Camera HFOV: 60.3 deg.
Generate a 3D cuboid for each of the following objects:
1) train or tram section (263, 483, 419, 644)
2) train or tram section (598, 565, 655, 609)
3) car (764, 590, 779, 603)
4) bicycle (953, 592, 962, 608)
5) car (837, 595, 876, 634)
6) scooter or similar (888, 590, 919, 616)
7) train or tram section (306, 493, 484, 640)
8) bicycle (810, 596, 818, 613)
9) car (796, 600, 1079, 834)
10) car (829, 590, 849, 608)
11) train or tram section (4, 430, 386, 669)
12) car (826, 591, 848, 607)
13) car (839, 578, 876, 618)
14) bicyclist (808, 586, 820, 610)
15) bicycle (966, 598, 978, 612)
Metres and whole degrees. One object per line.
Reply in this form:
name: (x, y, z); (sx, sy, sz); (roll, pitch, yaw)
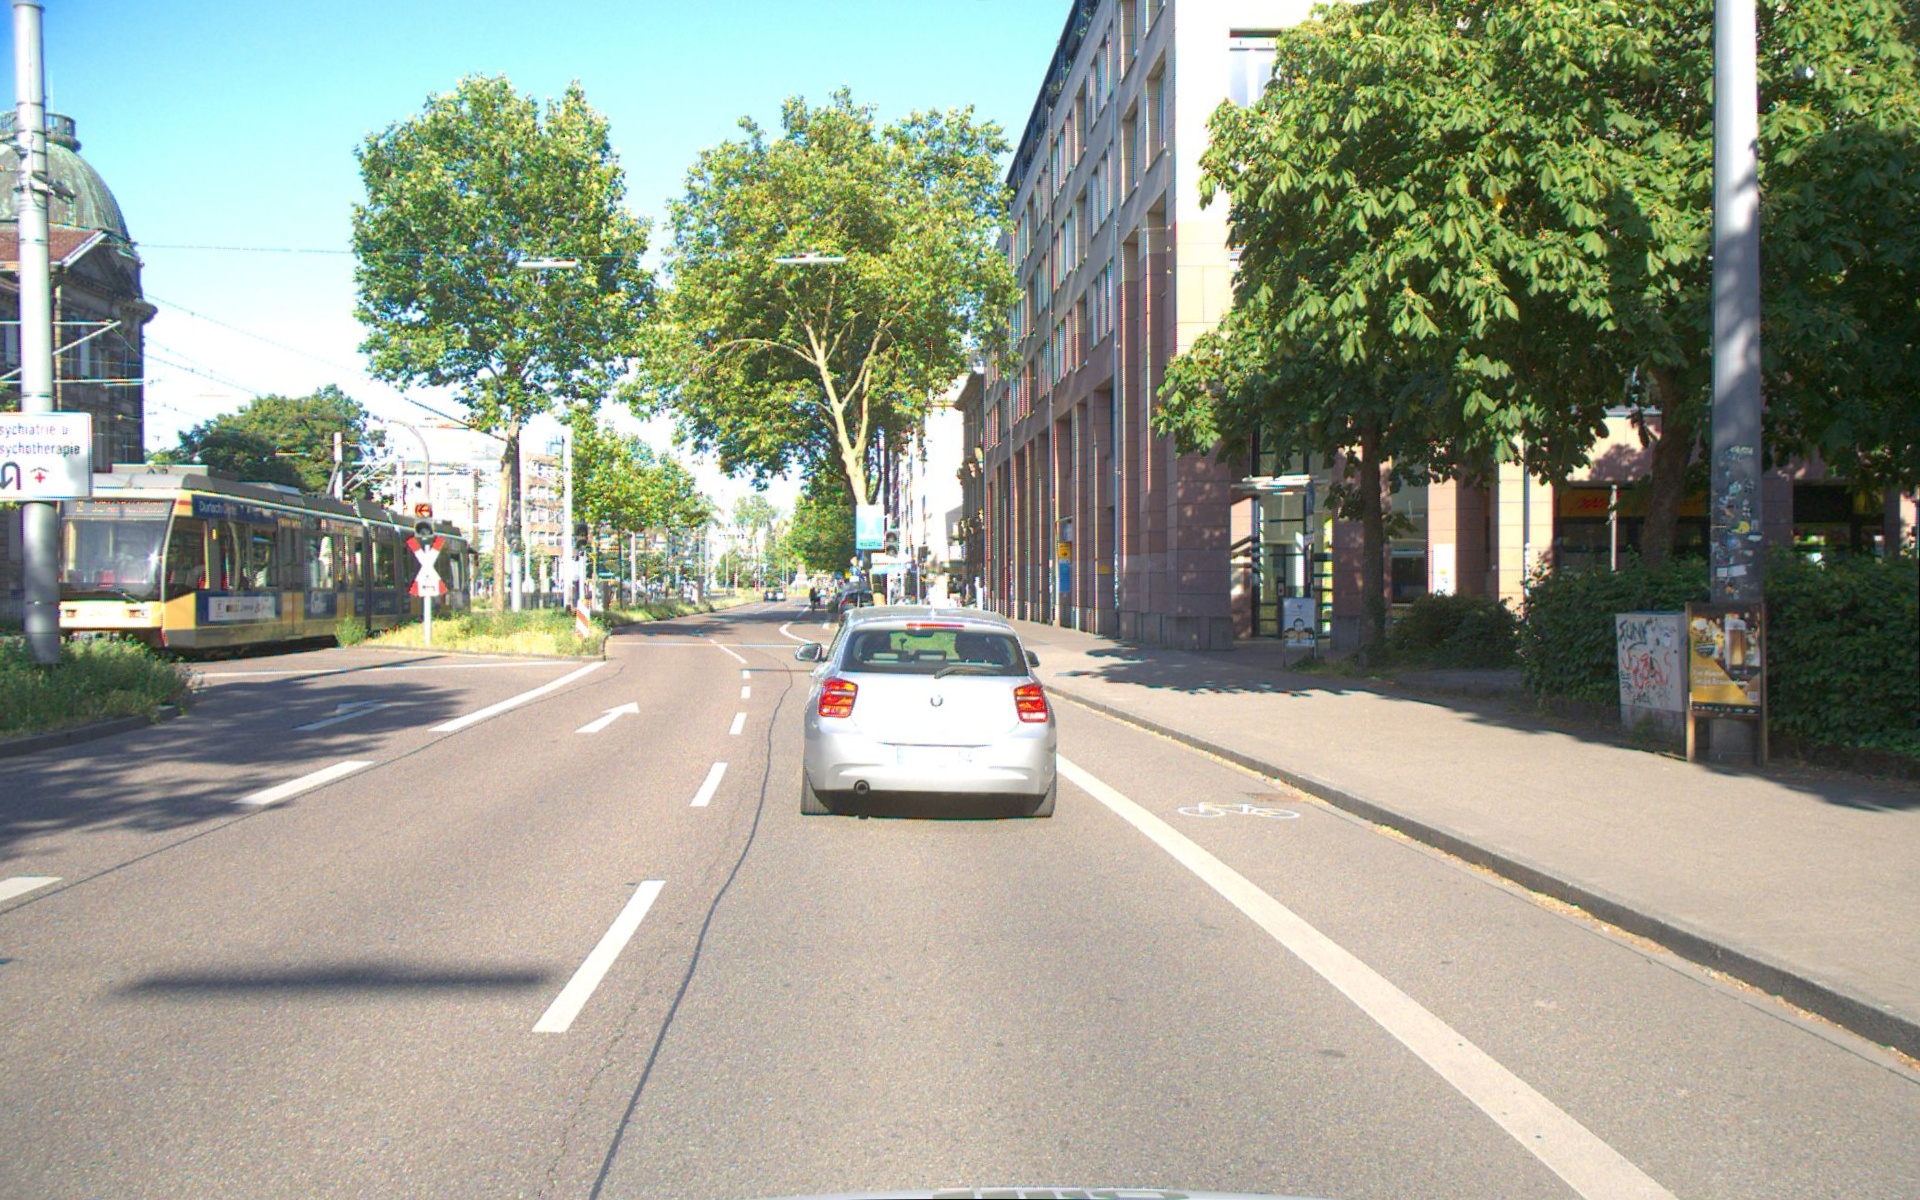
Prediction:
train or tram section: (-16.159, -0.902, 43.447); (2.899, 3.965, 3.860); (1, 0, -7)
train or tram section: (-28.640, -1.139, 143.088); (2.907, 3.544, 21.189); (1, 0, -6)
car: (-23.003, -0.435, 201.916); (1.694, 1.496, 4.403); (0, 0, -7)
bicycle: (-0.140, -0.029, 105.528); (0.406, 1.015, 1.880); (0, 0, -5)
car: (-4.513, 0.604, 72.291); (1.635, 1.598, 4.277); (1, 0, -3)
scooter or similar: (-2.784, 0.127, 81.745); (1.510, 1.259, 0.448); (-1, 0, -4)
train or tram section: (-17.029, -0.925, 50.707); (2.896, 3.965, 10.786); (1, 0, -7)
bicycle: (-9.628, 0.314, 108.989); (0.489, 1.107, 1.995); (1, 0, -5)
car: (-0.218, 0.747, 12.477); (1.762, 1.439, 3.998); (1, 0, -2)
car: (-10.784, -0.110, 147.360); (1.662, 1.528, 3.797); (-3, 1, -5)
train or tram section: (-15.097, -0.840, 34.473); (2.873, 3.878, 14.251); (1, 0, -7)
car: (-11.517, -0.101, 154.909); (1.998, 1.535, 4.589); (0, 0, -5)
car: (-5.528, -0.094, 88.802); (1.820, 2.049, 4.719); (1, 0, -5)
bicyclist: (-9.606, -0.150, 109.067); (0.770, 1.558, 0.894); (1, 0, -5)
bicycle: (0.727, 0.308, 98.145); (0.538, 0.787, 1.661); (-2, 0, -5)
